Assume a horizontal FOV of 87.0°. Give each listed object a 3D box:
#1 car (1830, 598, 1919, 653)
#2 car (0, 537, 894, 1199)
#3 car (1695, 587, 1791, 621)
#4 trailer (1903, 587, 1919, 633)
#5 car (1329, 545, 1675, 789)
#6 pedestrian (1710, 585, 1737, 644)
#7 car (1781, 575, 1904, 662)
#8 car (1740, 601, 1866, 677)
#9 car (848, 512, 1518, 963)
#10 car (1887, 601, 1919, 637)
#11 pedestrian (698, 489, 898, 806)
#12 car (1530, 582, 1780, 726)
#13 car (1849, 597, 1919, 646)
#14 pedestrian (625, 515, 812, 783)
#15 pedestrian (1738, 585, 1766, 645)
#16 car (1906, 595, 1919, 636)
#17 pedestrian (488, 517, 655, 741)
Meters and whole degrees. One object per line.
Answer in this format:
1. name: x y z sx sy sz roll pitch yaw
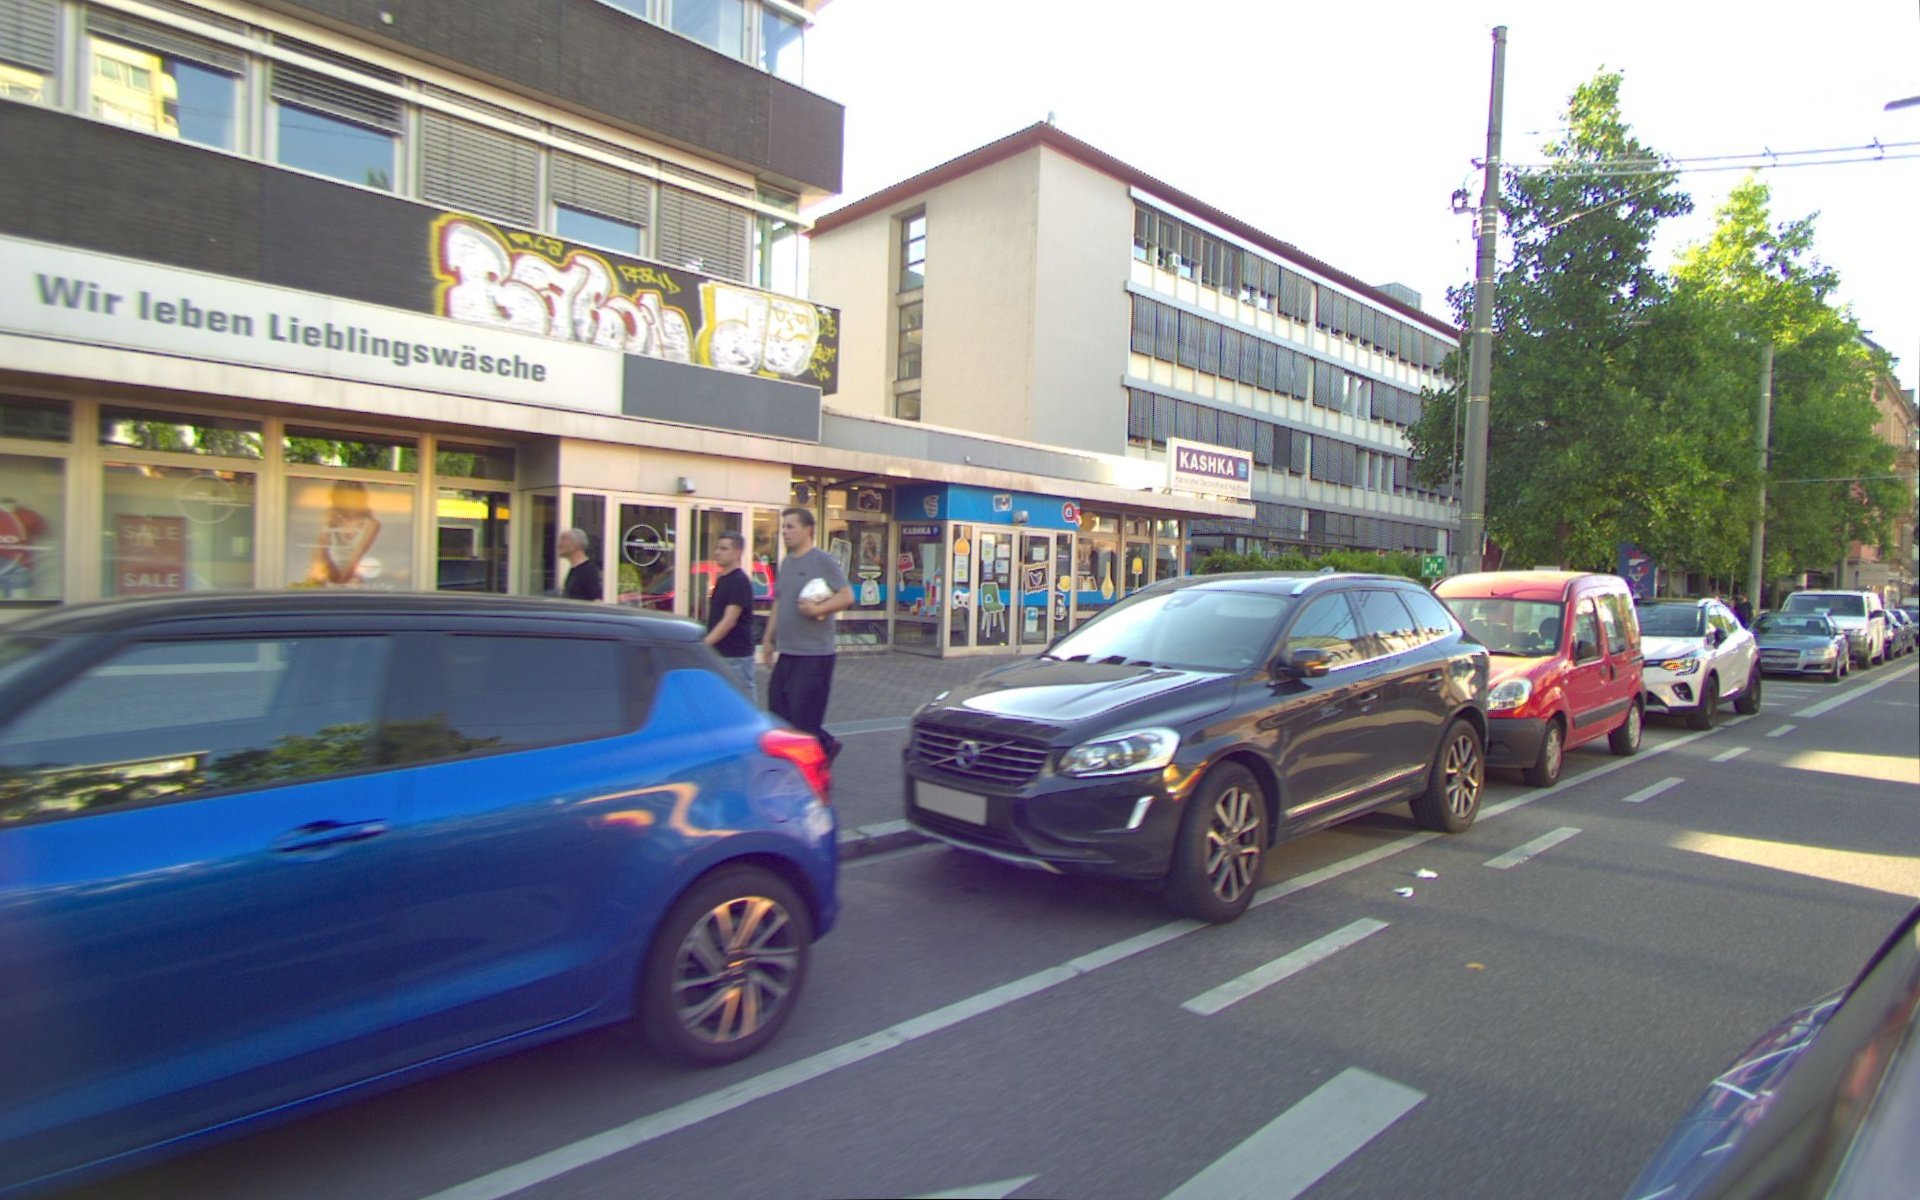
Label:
1. car: 27.529 0.699 30.384 3.844 1.511 1.686 -1 0 -42
2. car: -2.135 0.641 2.911 3.732 1.512 1.638 1 -1 -44
3. car: 47.301 0.195 61.177 4.359 1.692 1.564 6 4 44
4. trailer: 47.614 0.475 49.353 5.221 2.176 1.783 0 0 -40
5. car: 5.302 0.488 9.639 4.177 1.831 1.677 0 0 -43
6. pedestrian: 23.246 0.430 30.809 0.429 1.734 0.494 1 3 -43
7. car: 22.902 0.437 26.197 4.821 2.047 1.879 0 0 -43
8. car: 18.248 0.767 21.854 4.099 1.422 1.675 -1 1 -44
9. car: 1.634 0.530 6.166 4.399 1.779 1.822 0 0 -43
10. car: 39.925 0.786 42.043 4.141 1.446 1.781 0 0 -43
11. pedestrian: -1.083 0.274 6.785 1.015 1.922 0.795 0 2 -43
12. car: 9.346 0.613 13.478 4.251 1.616 1.789 0 0 -42
13. car: 30.870 0.682 33.528 3.833 1.513 1.596 1 1 -41
14. pedestrian: -1.748 0.308 7.334 1.015 1.778 0.812 0 2 -43
15. pedestrian: 23.690 0.438 30.285 0.429 1.734 0.494 1 3 -43
16. car: 44.257 0.696 45.876 4.400 1.767 1.781 0 0 -44
17. pedestrian: -3.282 0.200 8.540 1.015 1.734 0.902 0 4 -43
